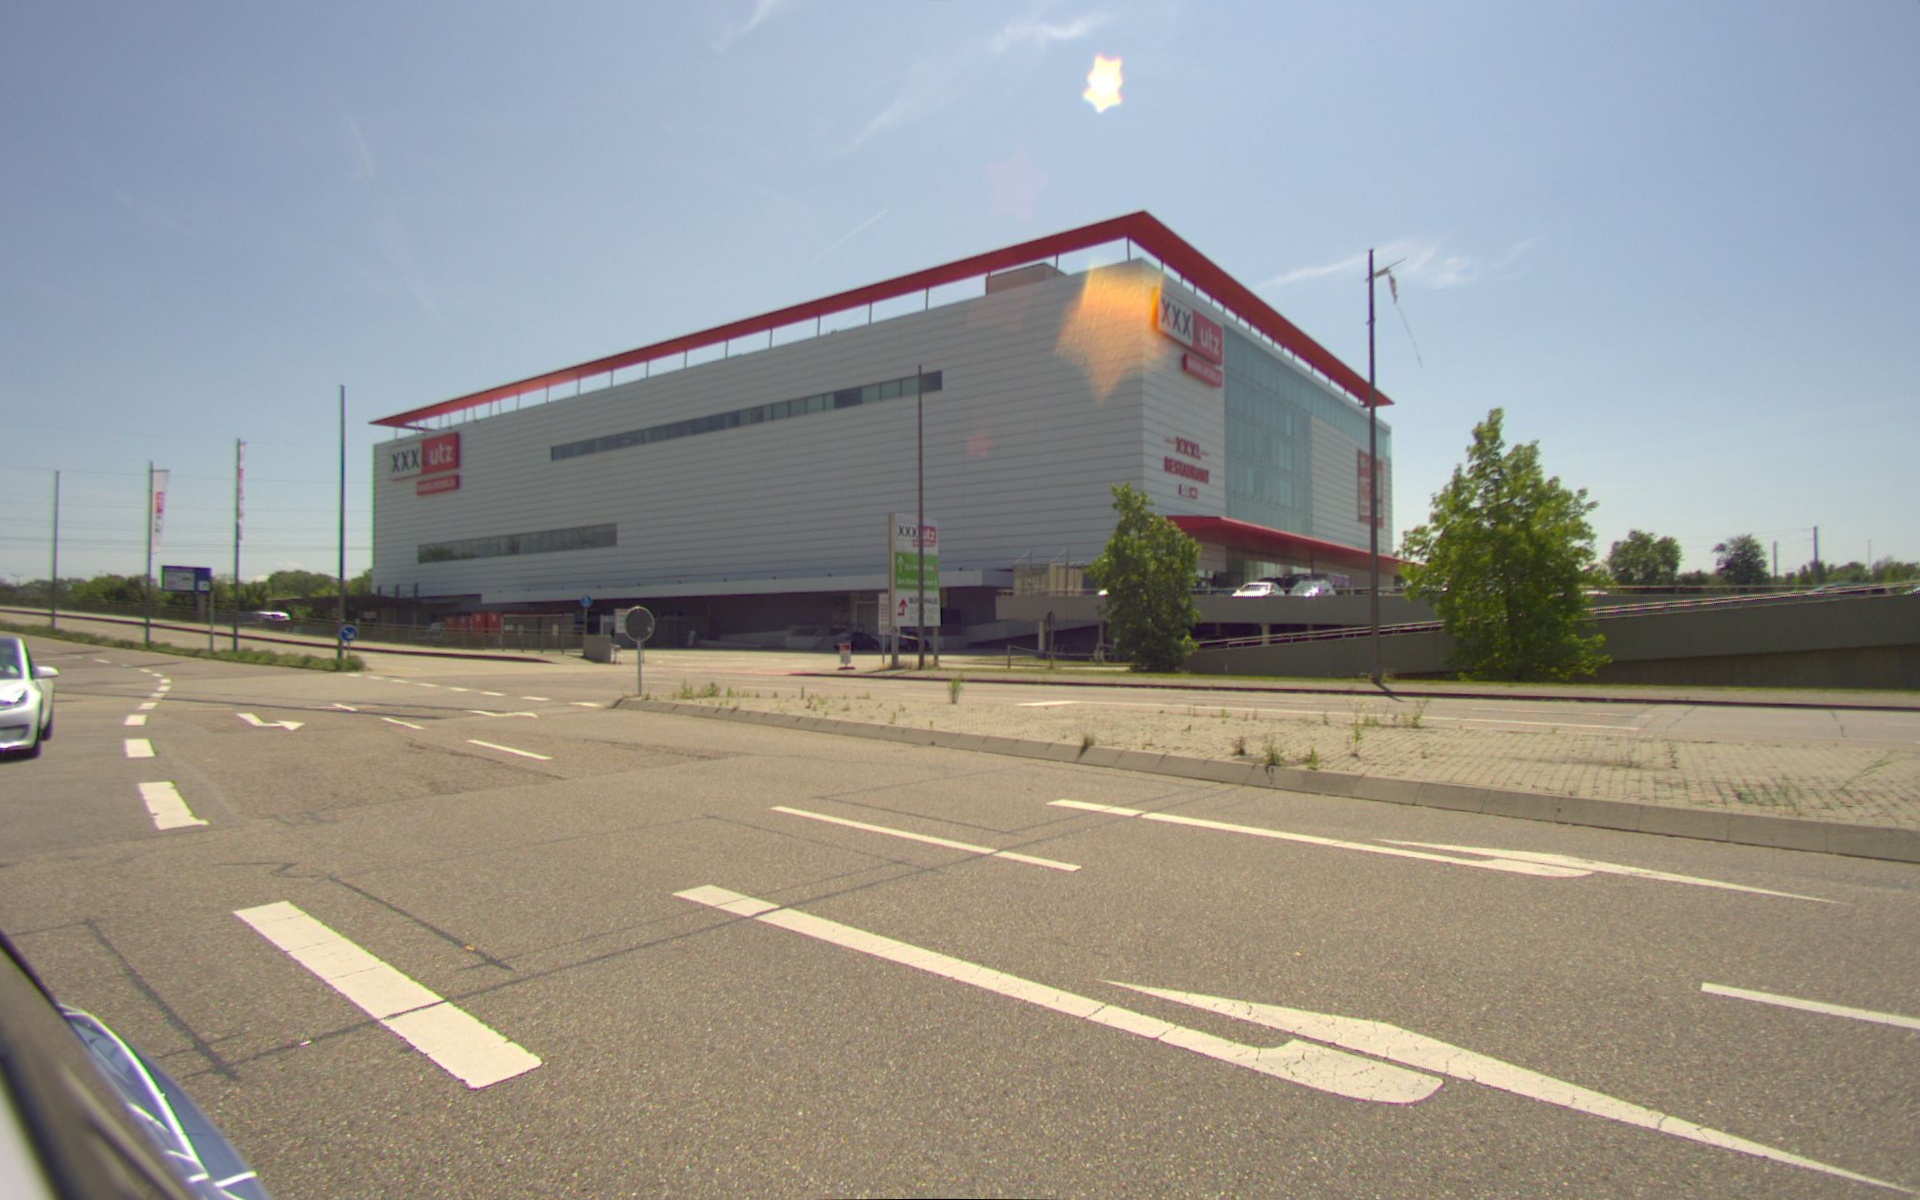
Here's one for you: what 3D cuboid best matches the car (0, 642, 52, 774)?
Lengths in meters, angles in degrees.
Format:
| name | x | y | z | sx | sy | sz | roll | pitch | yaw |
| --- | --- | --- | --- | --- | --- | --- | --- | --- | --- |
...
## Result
| name | x | y | z | sx | sy | sz | roll | pitch | yaw |
| --- | --- | --- | --- | --- | --- | --- | --- | --- | --- |
| car | -12.388 | 1.232 | 12.143 | 4.407 | 1.436 | 1.854 | -3 | -4 | 44 |

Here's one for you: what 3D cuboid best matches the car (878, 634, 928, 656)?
| name | x | y | z | sx | sy | sz | roll | pitch | yaw |
| --- | --- | --- | --- | --- | --- | --- | --- | --- | --- |
| car | -4.117 | 3.259 | 73.288 | 1.955 | 1.507 | 3.444 | -1 | -2 | 35 |

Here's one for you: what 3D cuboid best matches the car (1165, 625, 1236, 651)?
| name | x | y | z | sx | sy | sz | roll | pitch | yaw |
| --- | --- | --- | --- | --- | --- | --- | --- | --- | --- |
| car | 16.473 | 2.574 | 69.375 | 4.399 | 1.701 | 1.979 | -1 | -2 | 31 |

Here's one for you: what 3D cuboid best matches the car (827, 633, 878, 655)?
| name | x | y | z | sx | sy | sz | roll | pitch | yaw |
| --- | --- | --- | --- | --- | --- | --- | --- | --- | --- |
| car | -8.035 | 3.276 | 75.802 | 1.907 | 1.632 | 3.706 | -1 | -2 | 34 |

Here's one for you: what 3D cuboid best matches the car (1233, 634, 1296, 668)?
| name | x | y | z | sx | sy | sz | roll | pitch | yaw |
| --- | --- | --- | --- | --- | --- | --- | --- | --- | --- |
| car | 15.799 | 2.594 | 52.338 | 1.995 | 1.651 | 3.953 | -1 | -2 | 35 |

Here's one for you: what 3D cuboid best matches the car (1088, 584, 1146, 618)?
| name | x | y | z | sx | sy | sz | roll | pitch | yaw |
| --- | --- | --- | --- | --- | --- | --- | --- | --- | --- |
| car | 8.300 | 0.104 | 53.282 | 1.704 | 1.709 | 3.440 | -1 | -2 | 35 |

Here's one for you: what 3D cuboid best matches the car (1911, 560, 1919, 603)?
| name | x | y | z | sx | sy | sz | roll | pitch | yaw |
| --- | --- | --- | --- | --- | --- | --- | --- | --- | --- |
| car | 45.429 | -0.894 | 45.150 | 3.987 | 1.923 | 1.978 | -2 | -2 | 32 |
